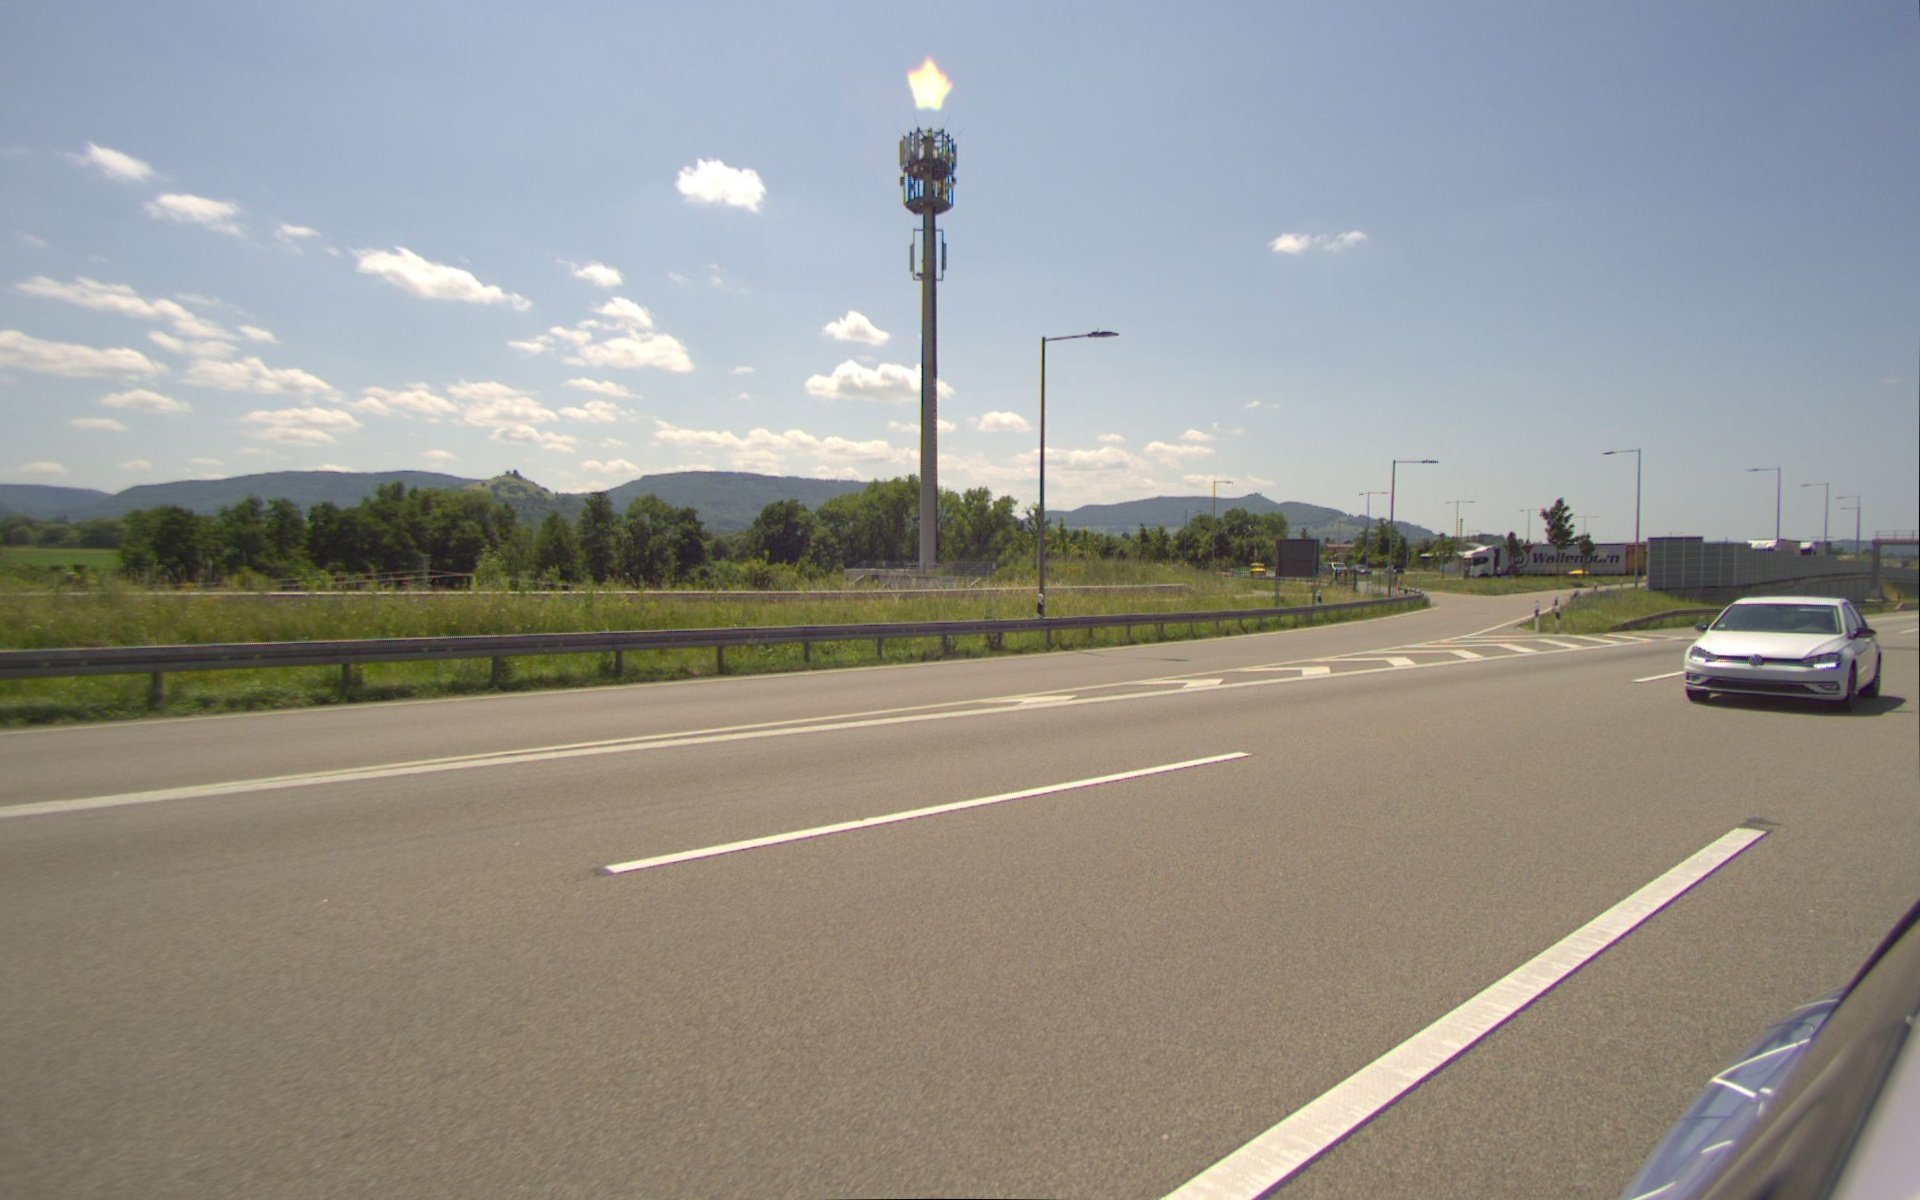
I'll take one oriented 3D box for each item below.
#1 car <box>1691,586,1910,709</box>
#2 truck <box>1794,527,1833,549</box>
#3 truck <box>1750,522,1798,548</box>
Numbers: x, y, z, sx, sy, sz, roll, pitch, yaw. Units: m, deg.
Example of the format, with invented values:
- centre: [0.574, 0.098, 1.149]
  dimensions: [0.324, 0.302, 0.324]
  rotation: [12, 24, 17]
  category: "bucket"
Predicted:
- centre: [12.204, 0.559, 14.579]
  dimensions: [4.611, 1.451, 1.778]
  rotation: [-1, 1, -42]
  category: "car"
- centre: [97.461, -7.057, 115.526]
  dimensions: [5.935, 2.258, 2.726]
  rotation: [-1, 1, -43]
  category: "truck"
- centre: [79.880, -6.364, 99.264]
  dimensions: [7.166, 2.232, 2.710]
  rotation: [-1, 1, -43]
  category: "truck"
